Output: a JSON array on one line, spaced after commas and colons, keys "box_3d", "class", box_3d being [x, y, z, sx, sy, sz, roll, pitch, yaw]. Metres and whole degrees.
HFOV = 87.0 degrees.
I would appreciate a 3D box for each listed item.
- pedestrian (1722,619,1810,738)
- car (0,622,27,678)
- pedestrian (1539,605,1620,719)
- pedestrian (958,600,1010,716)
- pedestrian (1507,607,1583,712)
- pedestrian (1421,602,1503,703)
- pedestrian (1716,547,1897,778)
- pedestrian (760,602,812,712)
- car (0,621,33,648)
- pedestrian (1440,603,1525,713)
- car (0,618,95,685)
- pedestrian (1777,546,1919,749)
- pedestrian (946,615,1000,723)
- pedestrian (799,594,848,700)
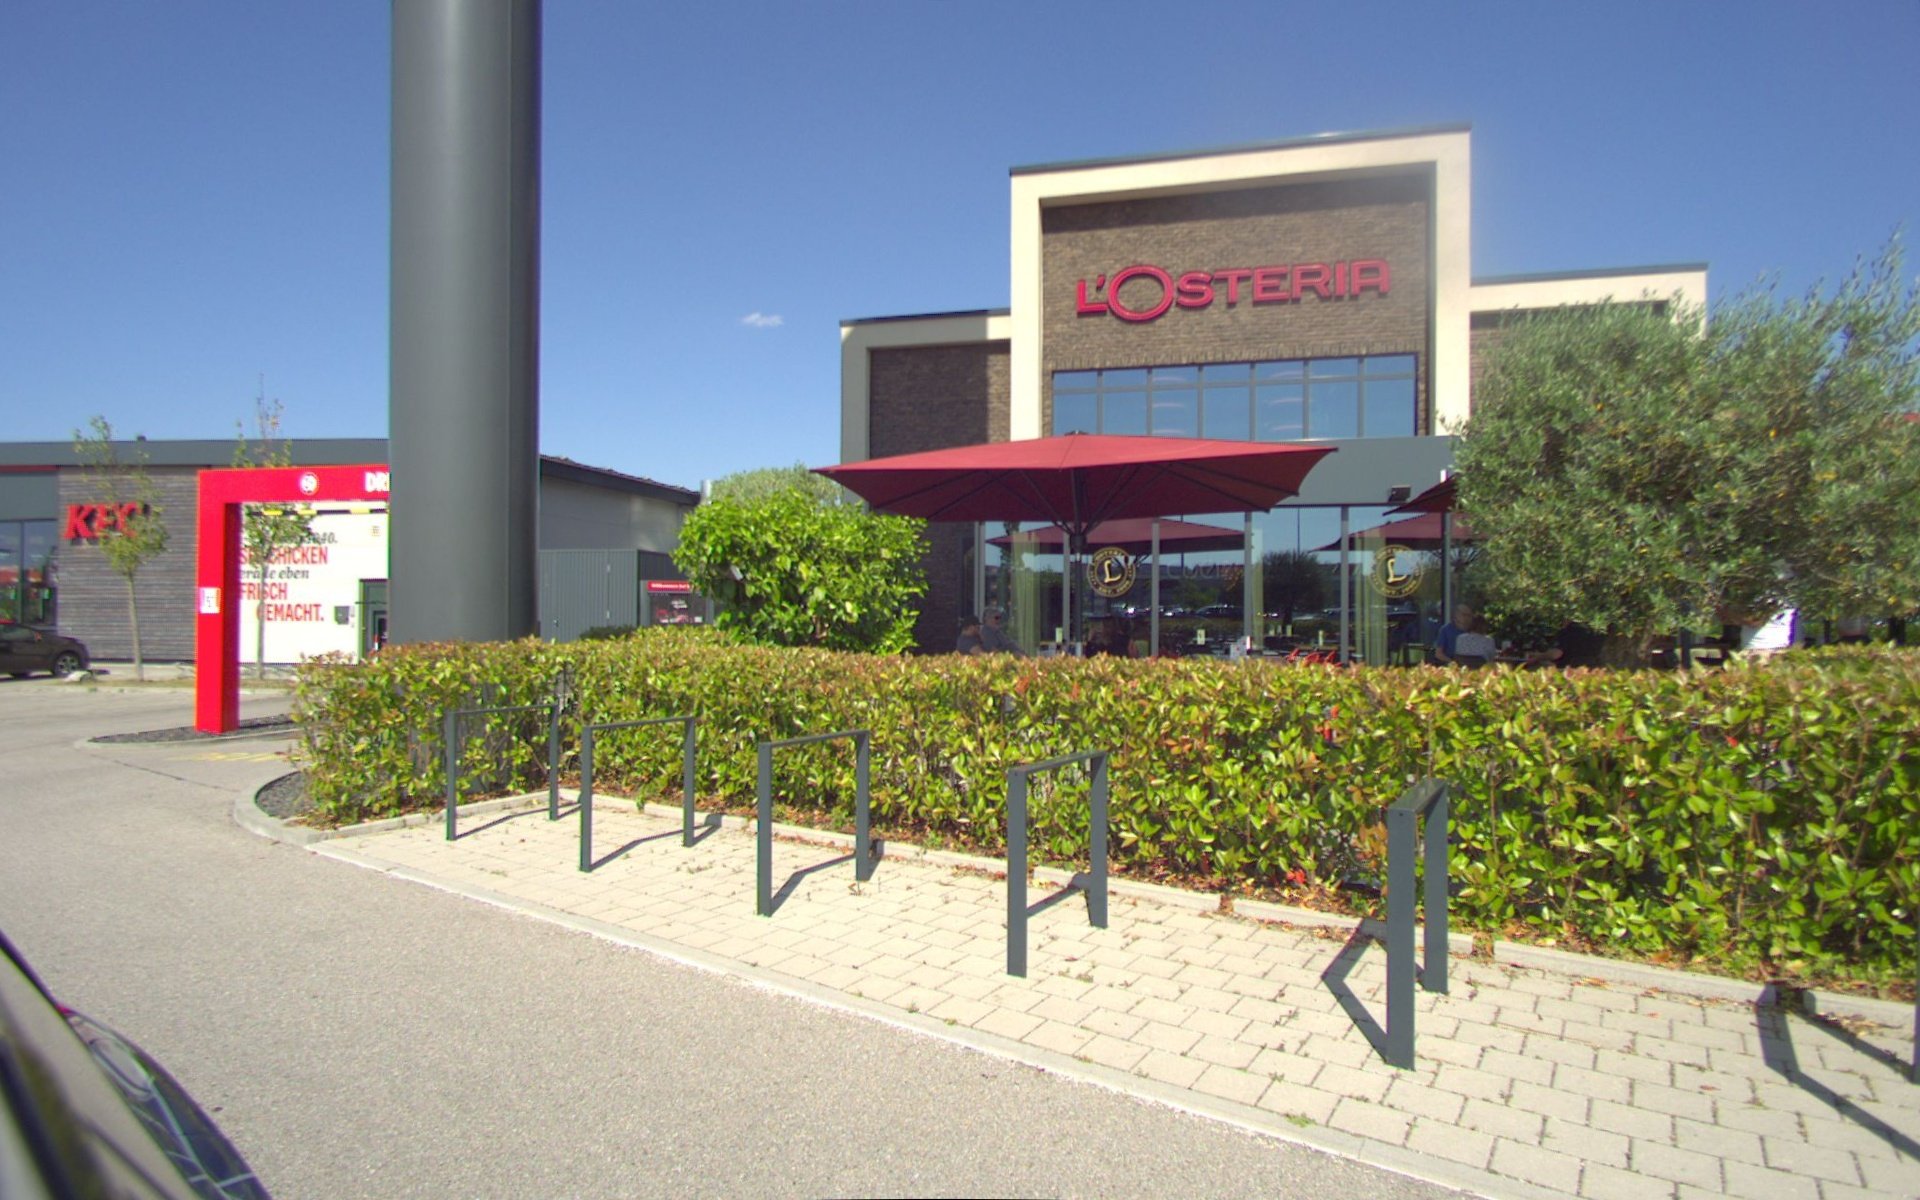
[{"box_3d": [7.793, 0.739, 9.803, 0.542, 1.098, 0.572, -2, -2, 29], "class": "pedestrian"}, {"box_3d": [-25.702, 1.299, 24.553, 1.722, 1.423, 4.387, -1, 0, 11], "class": "car"}, {"box_3d": [6.835, 0.670, 11.193, 0.612, 1.207, 0.705, -2, -2, 21], "class": "pedestrian"}, {"box_3d": [0.289, 0.697, 12.407, 0.474, 1.377, 0.652, -1, -1, -12], "class": "pedestrian"}, {"box_3d": [6.971, 0.690, 12.060, 0.617, 1.207, 0.700, -2, -2, 44], "class": "pedestrian"}, {"box_3d": [6.193, 0.643, 12.513, 0.660, 1.207, 0.709, -1, -1, 6], "class": "pedestrian"}, {"box_3d": [6.596, 0.473, 7.941, 0.755, 1.700, 0.783, -1, -1, 12], "class": "pedestrian"}, {"box_3d": [-2.453, 0.791, 14.260, 0.563, 1.516, 0.524, -1, -1, 11], "class": "pedestrian"}, {"box_3d": [-56.259, 2.002, 58.353, 3.933, 1.564, 1.759, 0, -2, -34], "class": "car"}, {"box_3d": [5.975, 0.650, 11.582, 0.699, 1.207, 0.617, 0, -2, -40], "class": "pedestrian"}, {"box_3d": [-23.010, 1.211, 23.761, 1.723, 1.518, 3.893, -1, 0, 12], "class": "car"}, {"box_3d": [7.590, 0.392, 8.544, 0.755, 1.627, 0.782, -1, -1, 14], "class": "pedestrian"}, {"box_3d": [0.141, 0.773, 11.610, 0.474, 1.194, 0.652, -1, -1, -12], "class": "pedestrian"}, {"box_3d": [-1.993, 0.680, 14.847, 0.563, 1.516, 0.524, -1, -1, 11], "class": "pedestrian"}]
